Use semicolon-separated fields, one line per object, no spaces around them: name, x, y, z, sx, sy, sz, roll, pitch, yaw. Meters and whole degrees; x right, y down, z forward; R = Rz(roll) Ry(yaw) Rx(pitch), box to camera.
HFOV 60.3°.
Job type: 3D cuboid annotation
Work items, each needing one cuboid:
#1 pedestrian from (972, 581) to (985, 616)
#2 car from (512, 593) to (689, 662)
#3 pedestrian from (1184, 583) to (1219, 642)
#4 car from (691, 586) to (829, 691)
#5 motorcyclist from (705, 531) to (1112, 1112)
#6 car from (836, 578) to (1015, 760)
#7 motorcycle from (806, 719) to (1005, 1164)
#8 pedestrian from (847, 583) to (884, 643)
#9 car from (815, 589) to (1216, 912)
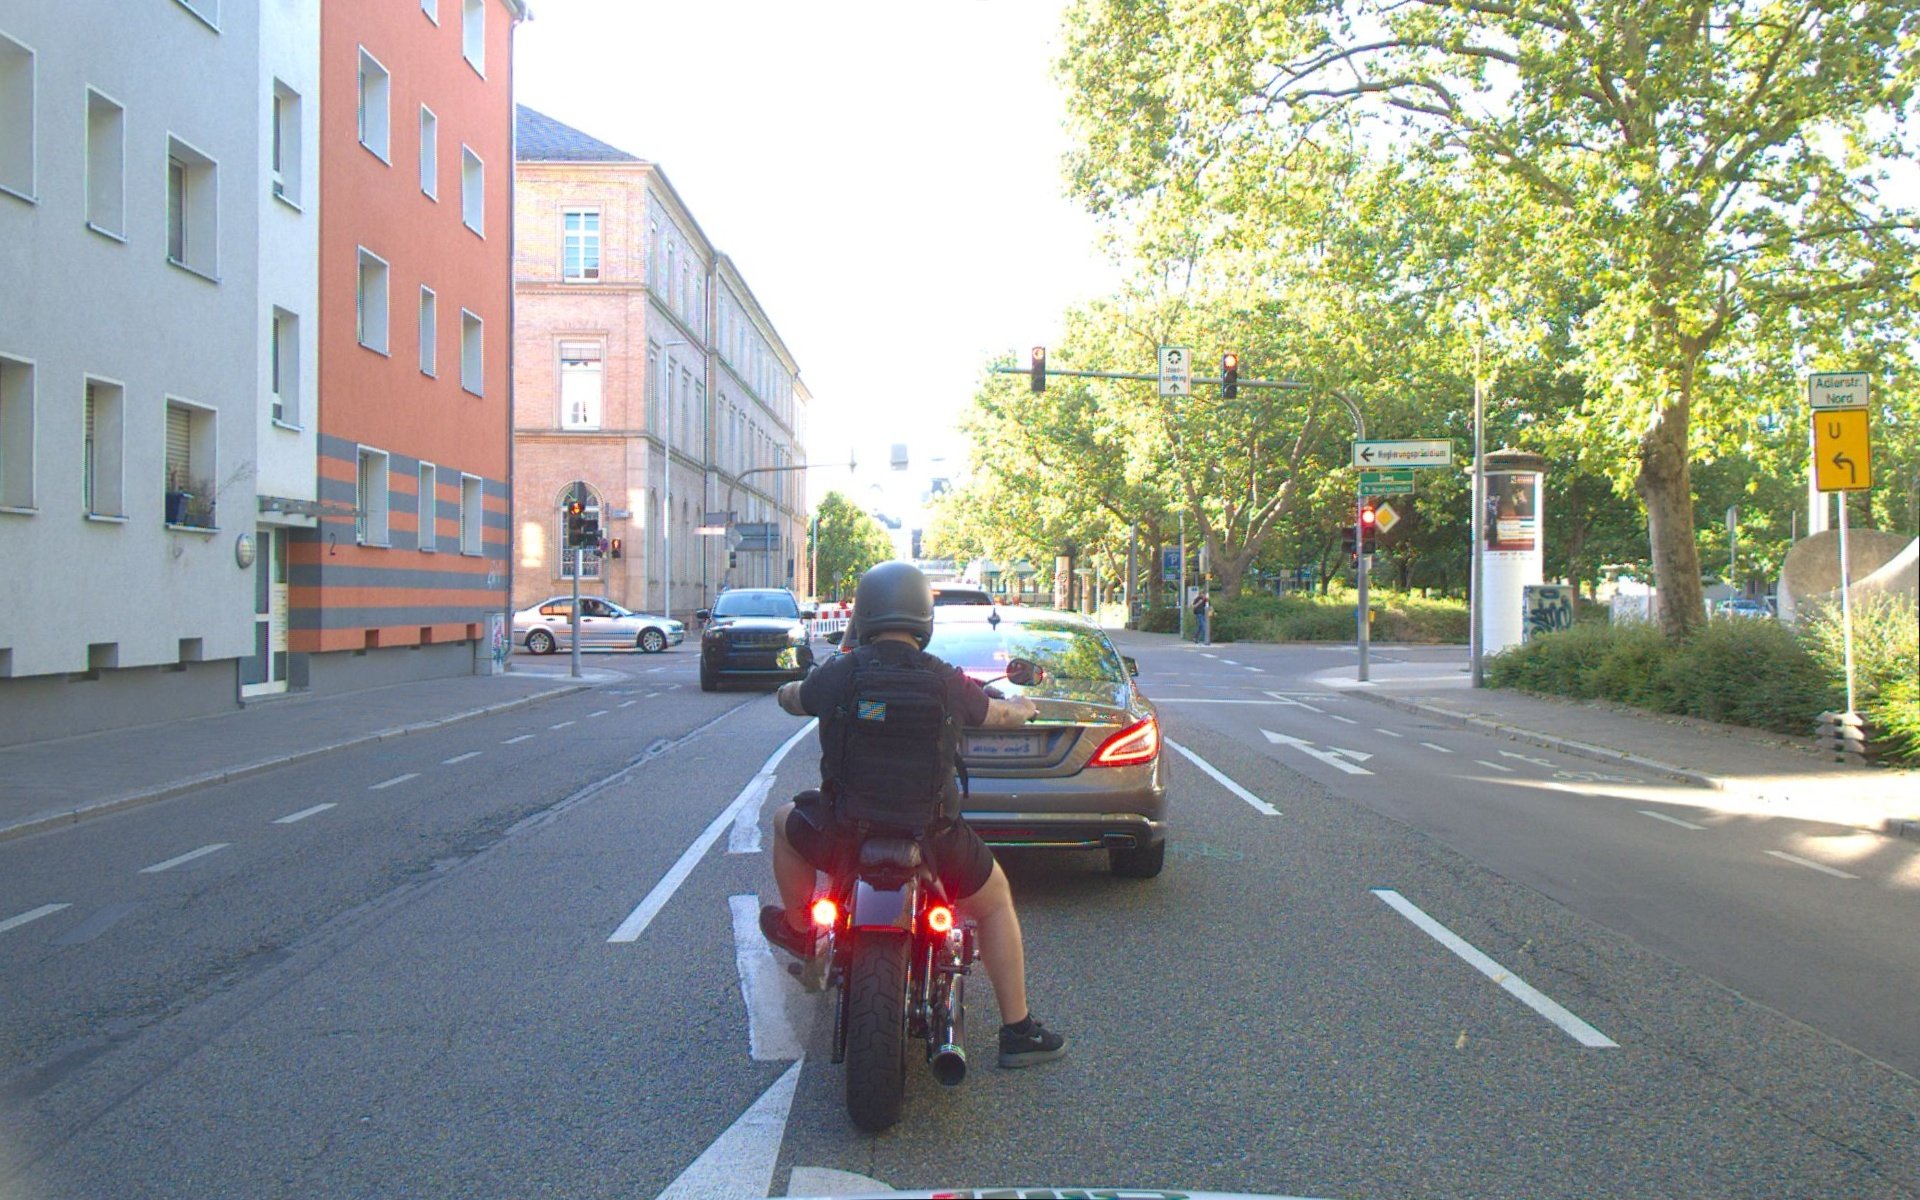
pedestrian;1.108;-0.083;100.890;0.748;2.087;0.712;1;-1;-1
car;-8.831;0.683;40.902;4.042;1.602;1.856;1;0;-6
pedestrian;8.067;0.423;55.280;0.741;1.943;0.917;1;-1;-29
car;-3.280;0.609;27.888;1.812;1.597;4.384;1;0;-1
motorcyclist;-0.141;0.629;5.331;1.125;1.626;1.288;1;0;0
car;-0.333;0.605;16.718;1.588;1.622;3.999;0;0;-1
motorcycle;-0.157;0.968;5.336;0.503;1.020;2.013;1;0;-1
pedestrian;-2.972;0.413;52.114;0.980;1.858;1.077;1;-1;5
car;0.234;0.692;9.610;1.844;1.475;3.819;1;0;-1
